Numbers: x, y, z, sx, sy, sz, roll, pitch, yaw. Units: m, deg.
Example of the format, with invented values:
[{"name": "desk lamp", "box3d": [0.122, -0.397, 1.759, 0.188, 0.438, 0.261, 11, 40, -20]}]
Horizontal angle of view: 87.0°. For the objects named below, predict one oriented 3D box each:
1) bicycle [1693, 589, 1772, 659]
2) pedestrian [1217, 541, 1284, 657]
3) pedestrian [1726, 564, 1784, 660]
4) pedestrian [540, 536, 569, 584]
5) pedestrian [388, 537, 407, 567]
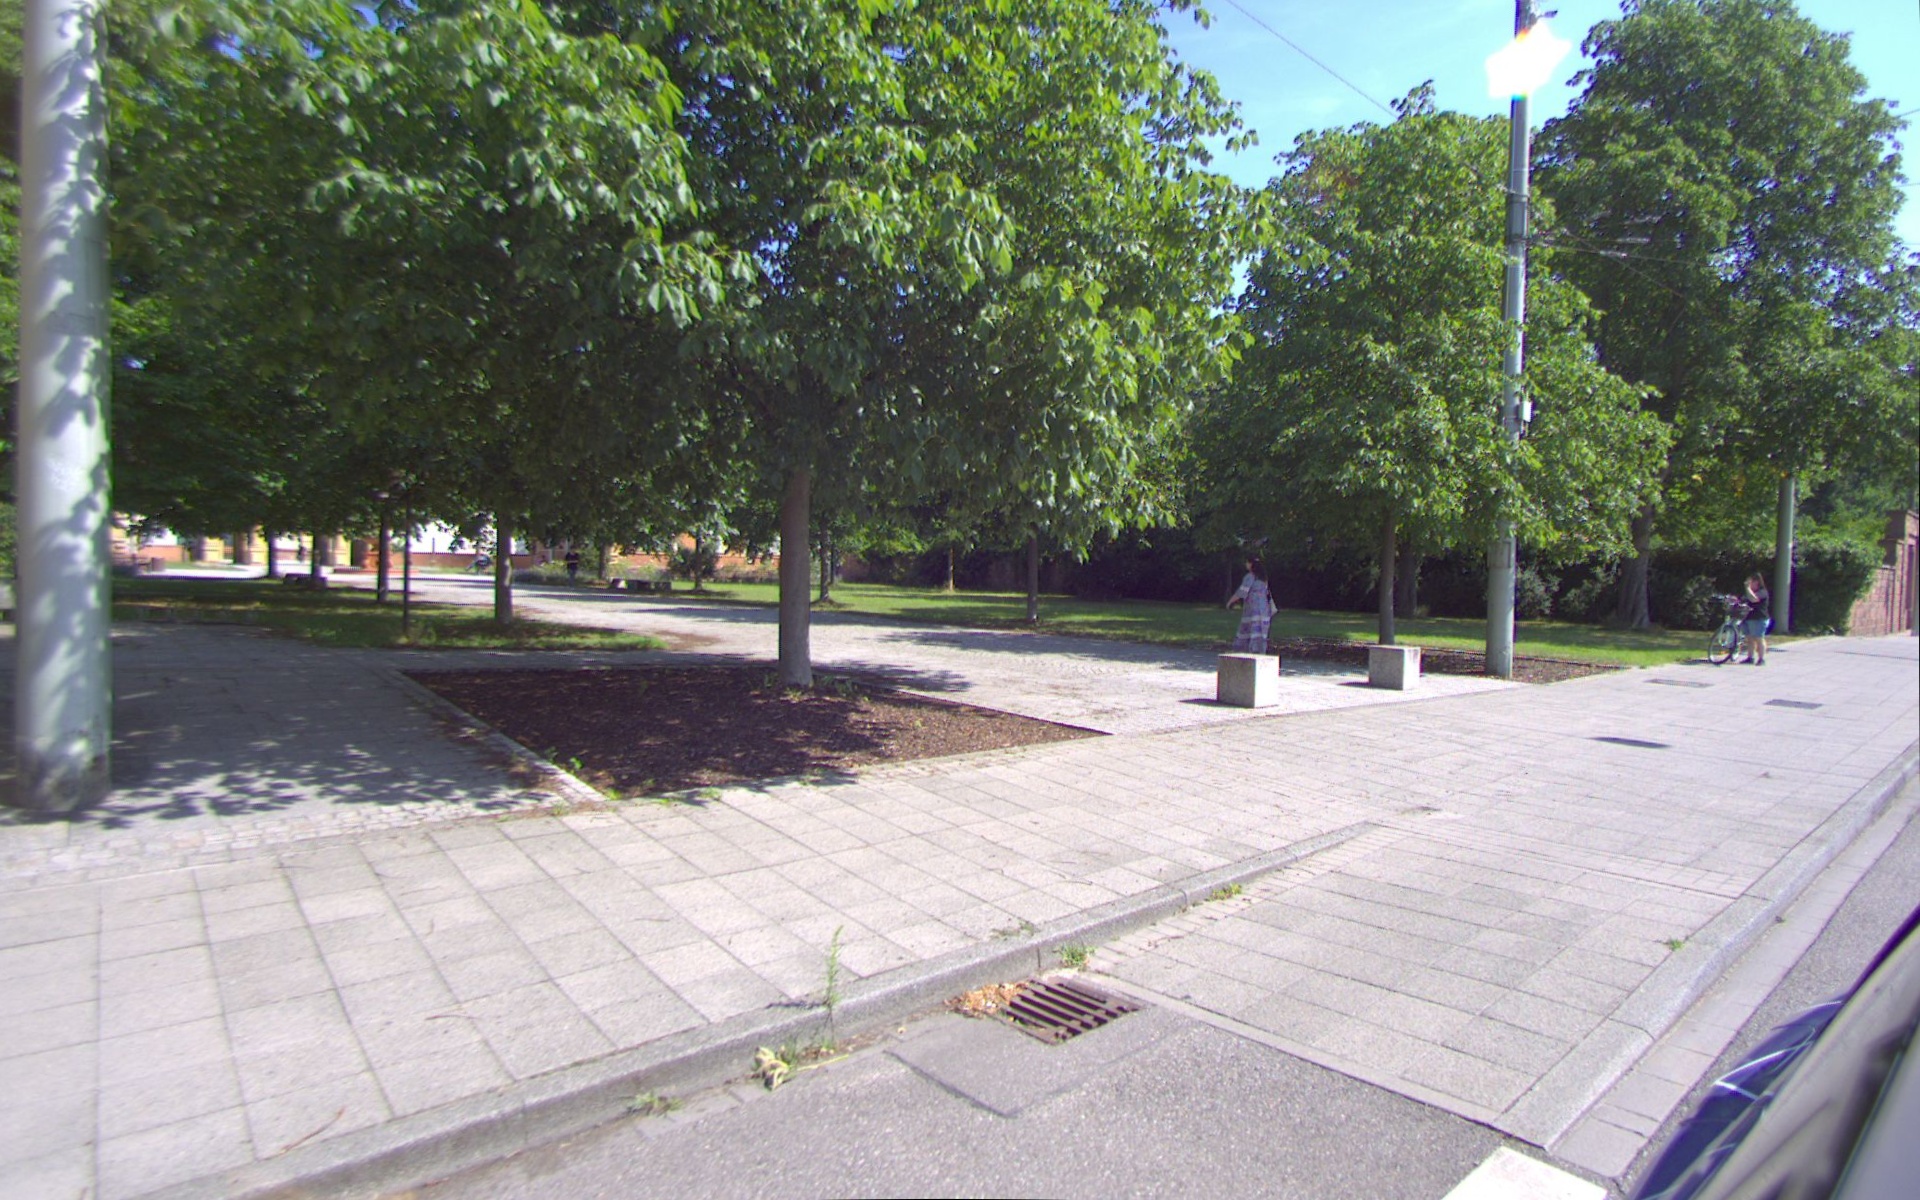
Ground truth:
[{"name": "bicycle", "box3d": [13.262, 0.394, 17.367, 1.773, 1.124, 0.538, 0, 3, -36]}, {"name": "pedestrian", "box3d": [4.424, -0.031, 15.417, 0.641, 1.703, 0.706, 0, 2, -43]}, {"name": "pedestrian", "box3d": [13.475, 0.196, 17.159, 0.652, 1.567, 0.542, 0, 4, -41]}, {"name": "pedestrian", "box3d": [-14.073, -1.400, 35.115, 0.677, 1.620, 0.867, 0, 2, -42]}, {"name": "pedestrian", "box3d": [-31.436, -2.674, 56.532, 0.619, 1.620, 0.735, 3, 2, 42]}]
